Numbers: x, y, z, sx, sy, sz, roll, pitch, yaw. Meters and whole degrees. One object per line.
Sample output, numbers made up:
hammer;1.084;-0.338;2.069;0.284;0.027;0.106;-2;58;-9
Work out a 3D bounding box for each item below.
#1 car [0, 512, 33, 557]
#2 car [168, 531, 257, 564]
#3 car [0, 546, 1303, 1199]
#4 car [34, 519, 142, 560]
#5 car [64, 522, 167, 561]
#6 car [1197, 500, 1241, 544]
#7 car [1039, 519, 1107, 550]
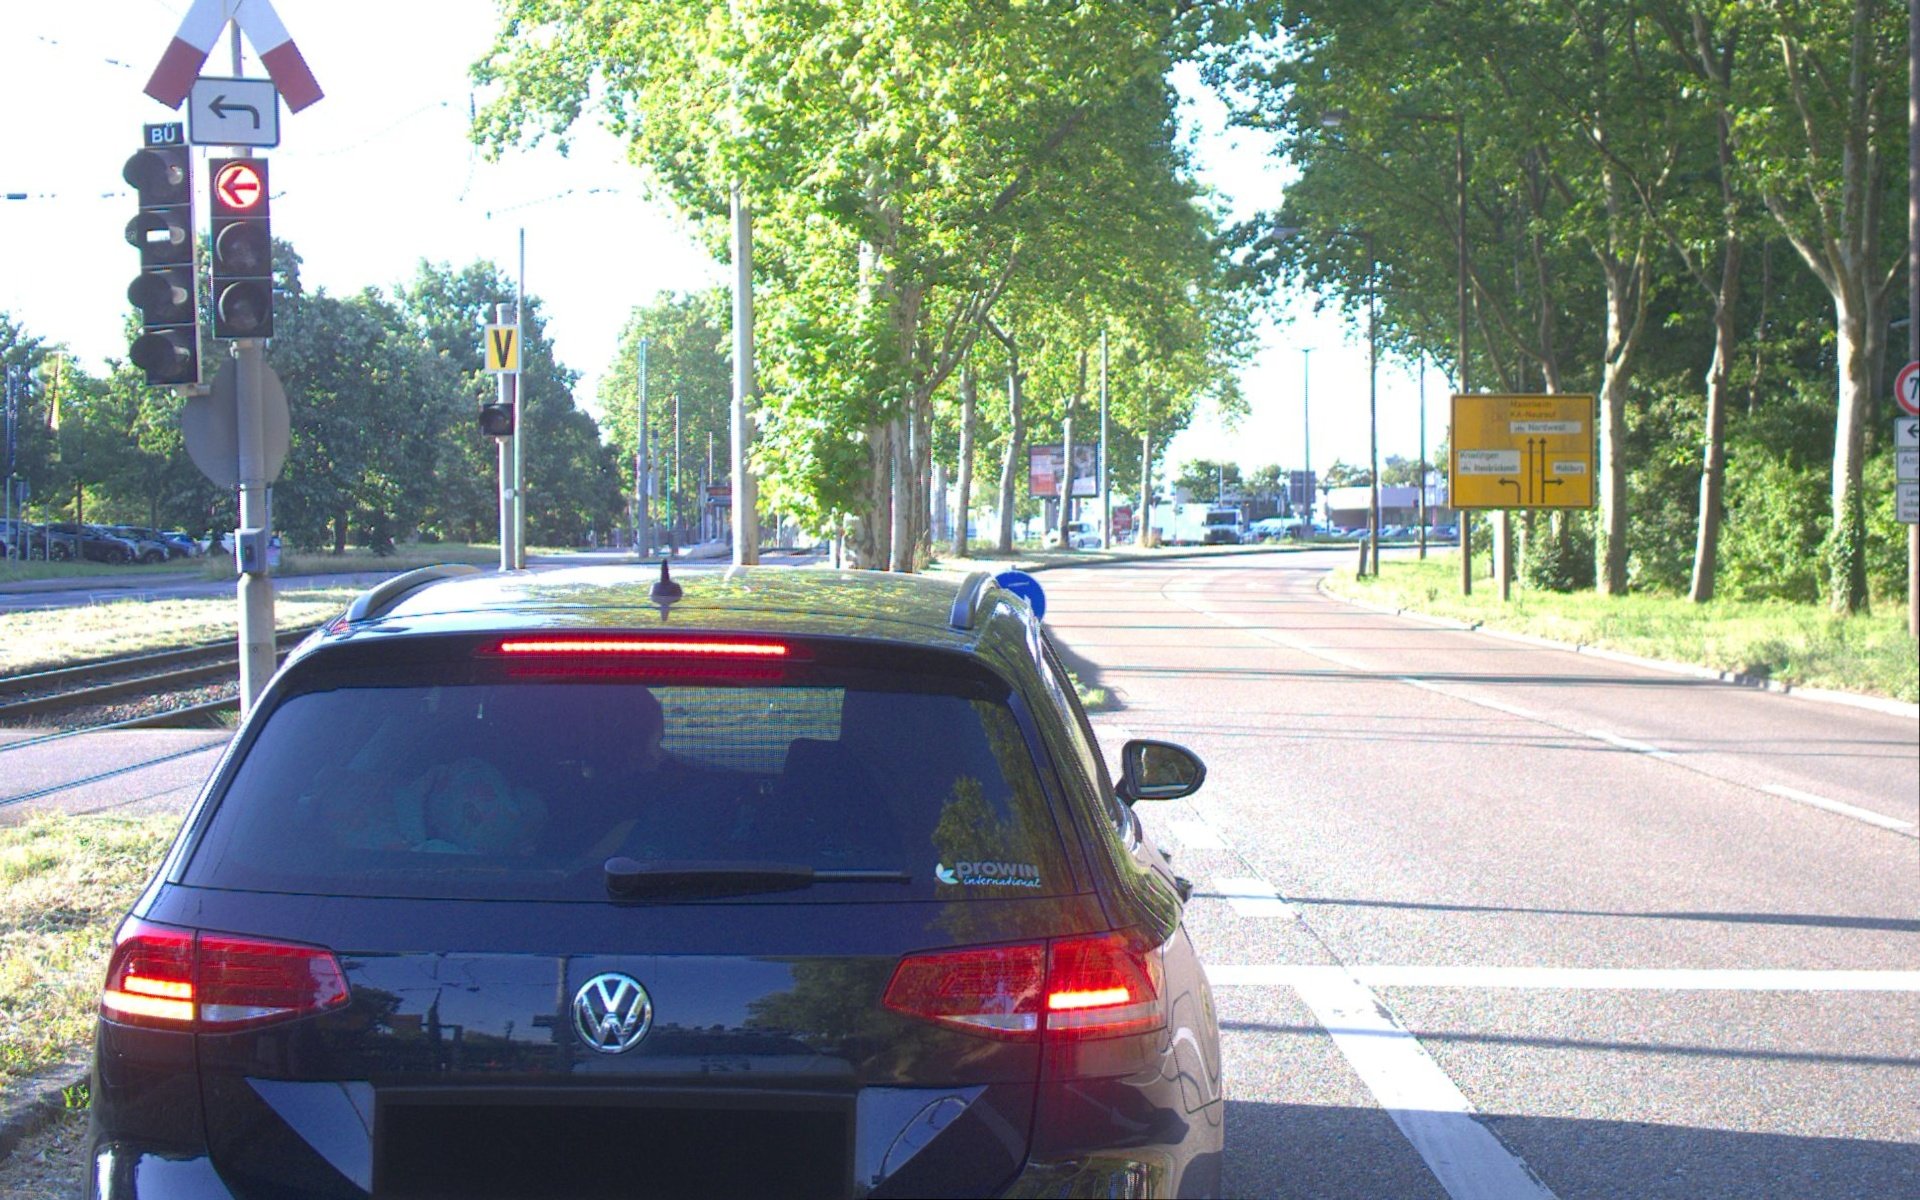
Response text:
car;-35.918;-2.384;124.997;3.986;1.615;1.744;1;1;-5
car;-36.512;-2.574;167.979;3.986;1.550;1.744;1;1;-4
car;-0.478;0.644;6.408;1.795;1.459;3.583;1;1;-1
car;-35.168;-2.436;138.746;3.986;1.615;1.744;1;1;-5
car;-35.827;-2.480;145.903;3.986;1.615;1.744;1;1;-5
car;14.881;-4.478;197.842;2.095;2.453;5.853;1;1;1
car;5.416;-3.132;164.552;1.864;1.476;4.087;1;1;23
